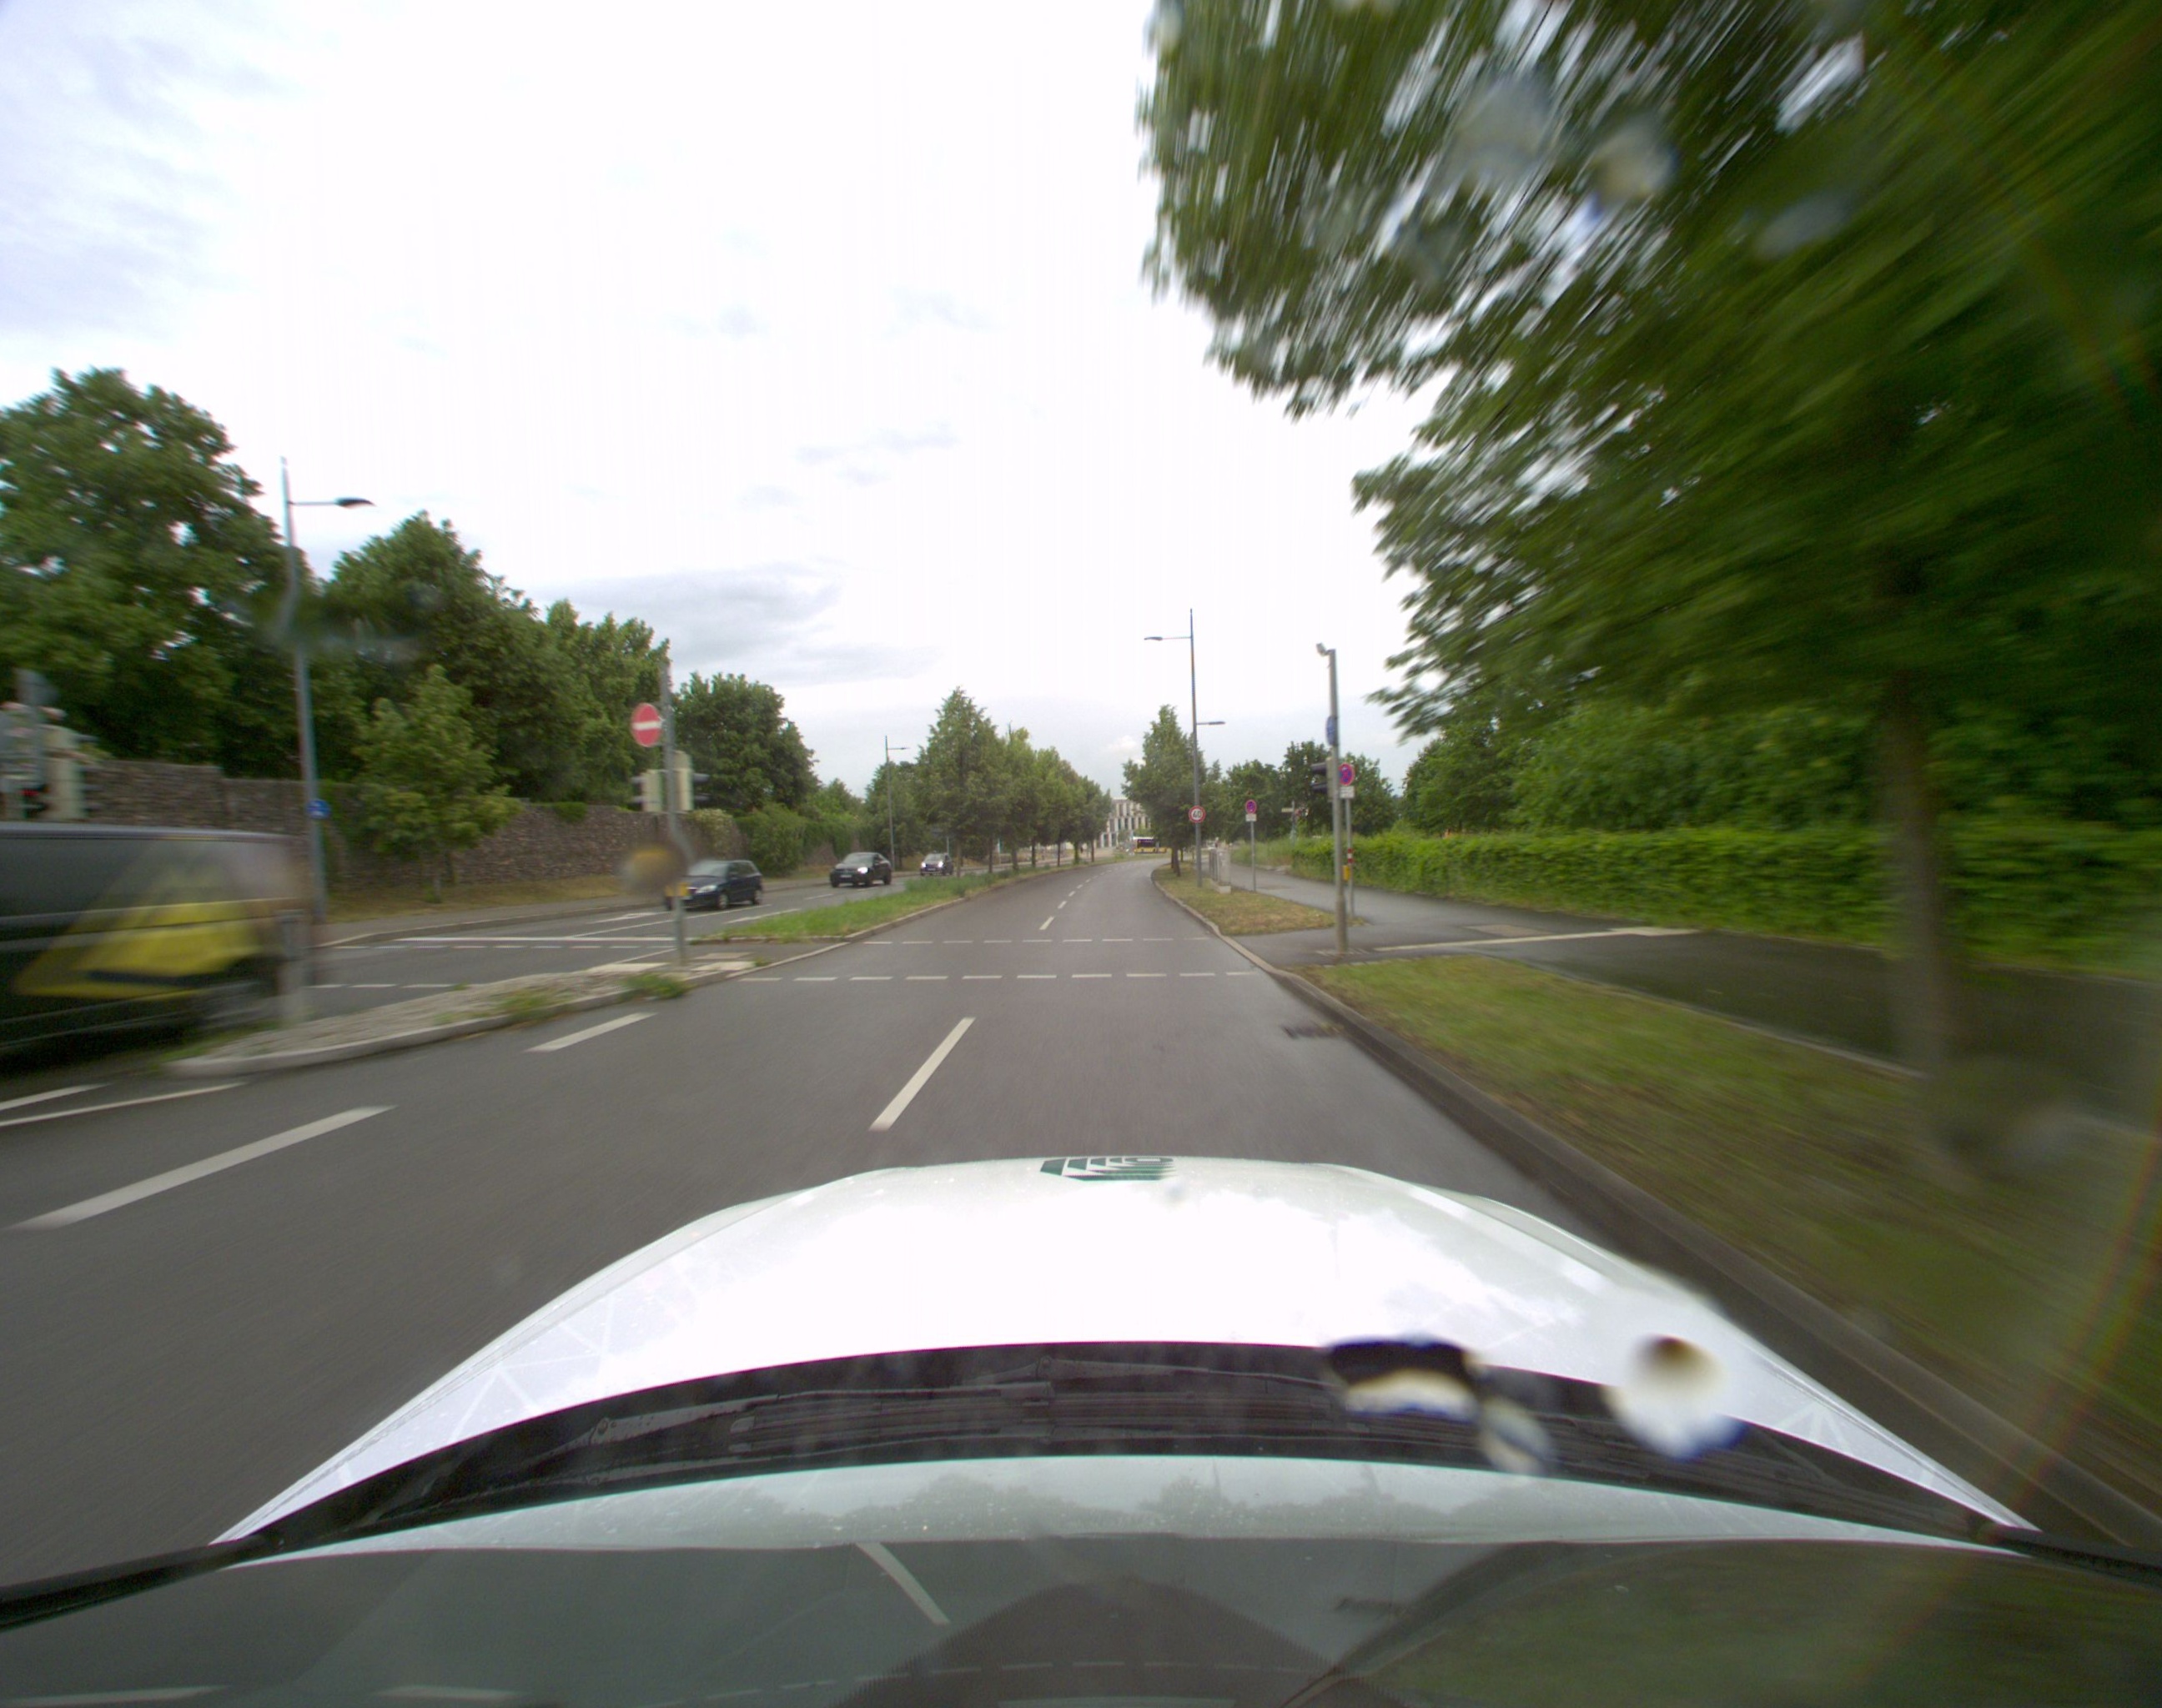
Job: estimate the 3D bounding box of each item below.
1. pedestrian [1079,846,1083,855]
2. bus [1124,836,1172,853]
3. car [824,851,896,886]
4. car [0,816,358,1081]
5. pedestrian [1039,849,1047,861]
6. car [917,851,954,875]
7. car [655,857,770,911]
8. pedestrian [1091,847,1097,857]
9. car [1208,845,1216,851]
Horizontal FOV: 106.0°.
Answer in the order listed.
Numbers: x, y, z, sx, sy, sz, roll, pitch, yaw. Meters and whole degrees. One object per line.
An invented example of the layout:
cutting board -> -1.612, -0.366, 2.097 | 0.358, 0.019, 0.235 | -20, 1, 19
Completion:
pedestrian -> -0.011, -0.663, 155.478 | 0.679, 1.524, 0.720 | -1, -1, 4
bus -> 14.633, -1.971, 175.181 | 2.758, 3.357, 18.338 | -2, -1, 29
car -> -10.625, 0.678, 39.548 | 1.872, 1.595, 4.772 | 0, 0, 4
car -> -8.831, 0.699, 6.228 | 2.007, 1.919, 5.095 | -1, 0, 0
pedestrian -> -5.439, 0.114, 116.480 | 0.807, 1.621, 0.939 | -1, -1, 15
car -> -9.763, 0.597, 54.817 | 1.678, 1.539, 2.920 | -1, 1, 5
car -> -11.103, 0.854, 24.839 | 1.592, 1.489, 4.001 | -1, 0, 1
pedestrian -> 2.125, -0.349, 133.508 | 0.832, 1.573, 0.718 | -1, -1, -3
car -> 34.324, -1.573, 213.346 | 1.464, 1.494, 2.545 | -1, -1, 27
